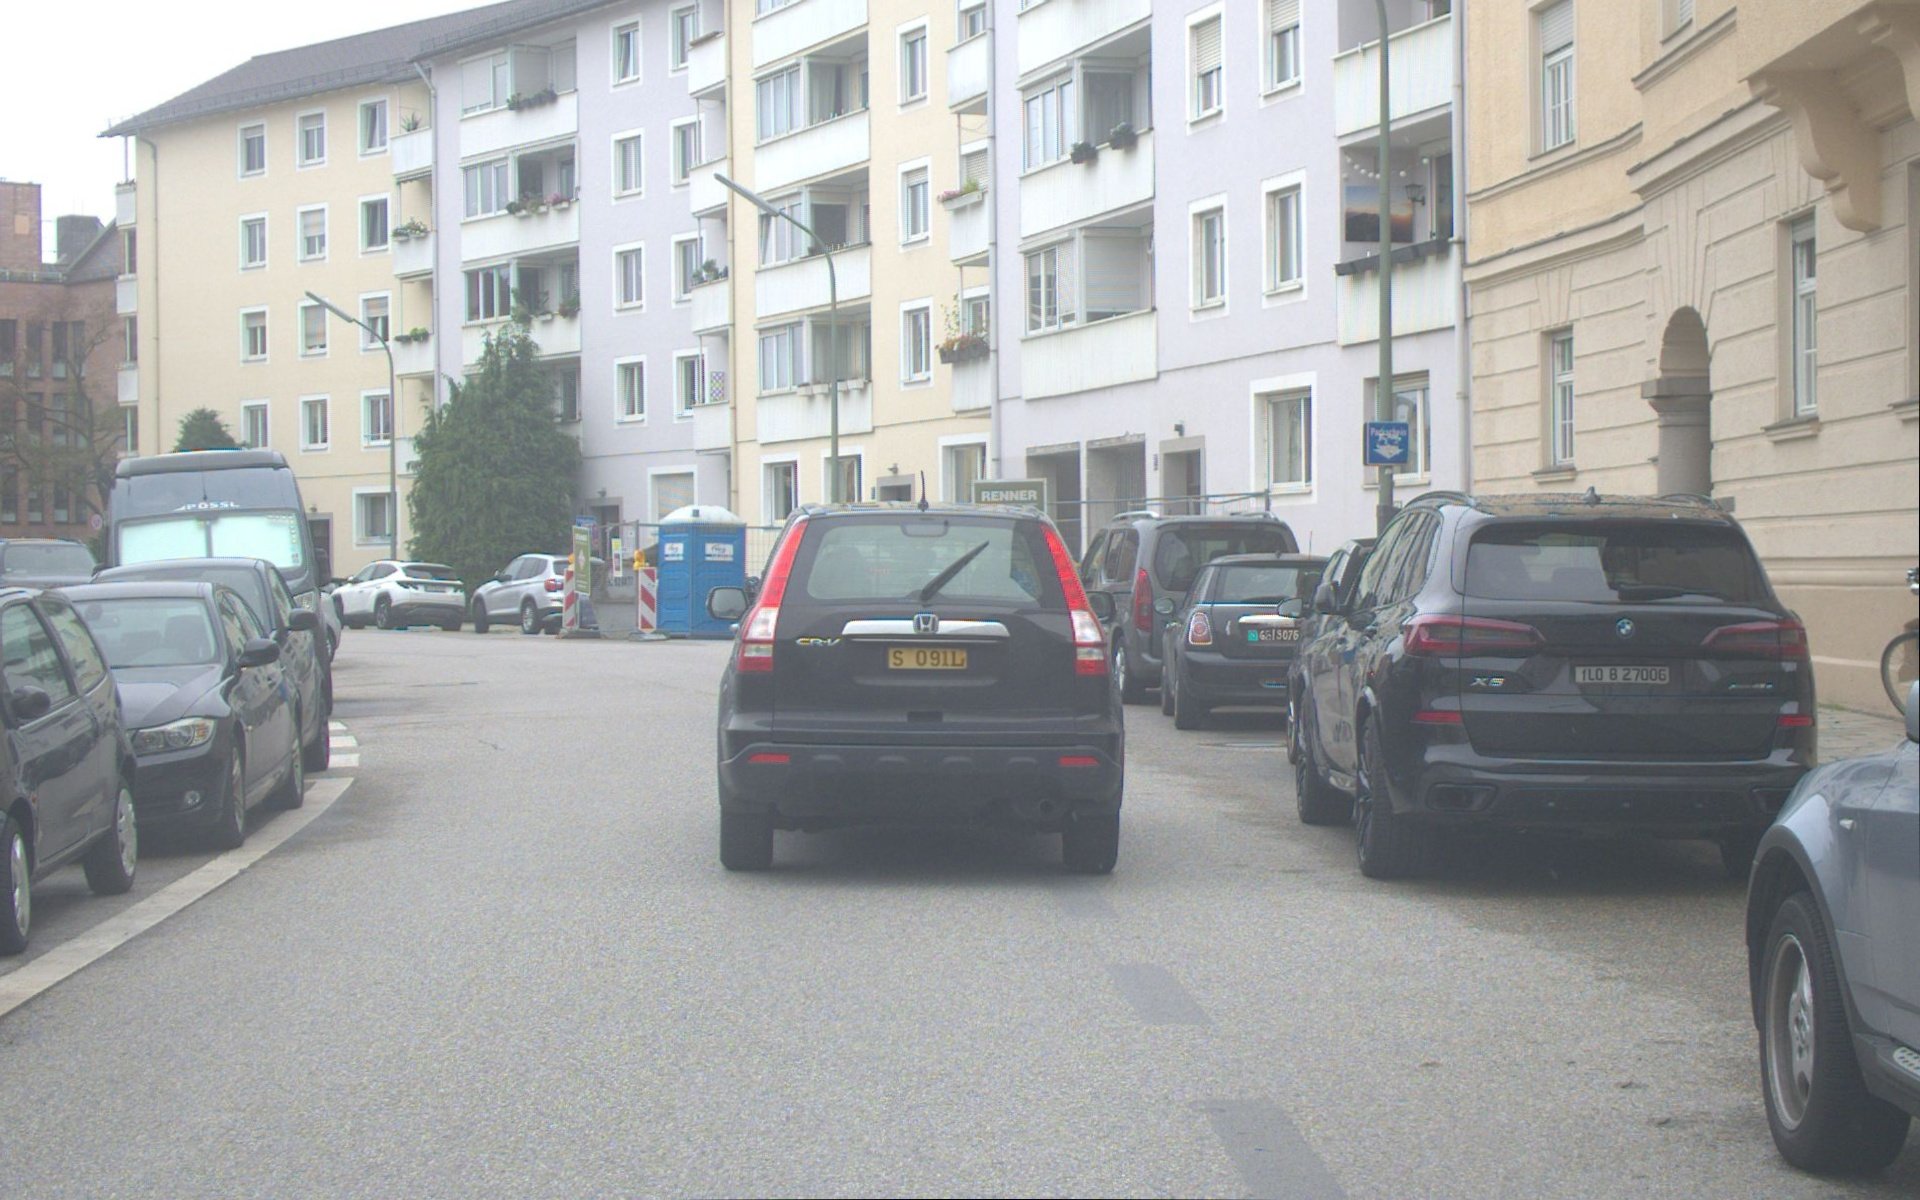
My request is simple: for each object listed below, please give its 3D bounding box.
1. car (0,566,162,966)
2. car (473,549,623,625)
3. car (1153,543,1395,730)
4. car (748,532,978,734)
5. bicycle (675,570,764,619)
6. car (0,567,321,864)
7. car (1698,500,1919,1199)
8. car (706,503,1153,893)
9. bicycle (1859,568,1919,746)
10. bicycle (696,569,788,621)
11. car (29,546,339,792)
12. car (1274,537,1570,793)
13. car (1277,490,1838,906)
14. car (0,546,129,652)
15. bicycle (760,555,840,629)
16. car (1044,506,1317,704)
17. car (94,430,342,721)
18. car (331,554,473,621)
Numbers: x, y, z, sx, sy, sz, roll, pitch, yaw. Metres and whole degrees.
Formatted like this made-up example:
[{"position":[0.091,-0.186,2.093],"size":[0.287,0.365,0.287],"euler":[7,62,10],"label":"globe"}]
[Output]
[{"position":[-4.450,0.622,14.198],"size":[1.656,1.448,3.313],"euler":[-2,1,-3],"label":"car"},{"position":[-8.481,-0.287,70.522],"size":[1.724,1.478,4.001],"euler":[0,1,-28],"label":"car"},{"position":[2.580,0.265,29.007],"size":[1.708,1.442,3.830],"euler":[1,1,1],"label":"car"},{"position":[-0.838,0.217,27.322],"size":[1.679,1.476,4.087],"euler":[0,1,-4],"label":"car"},{"position":[-5.392,-0.125,77.094],"size":[1.865,1.087,0.646],"euler":[0,1,-22],"label":"bicycle"},{"position":[-4.707,0.557,19.106],"size":[1.799,1.401,4.456],"euler":[-2,1,-5],"label":"car"},{"position":[2.836,0.610,6.818],"size":[1.722,1.628,4.458],"euler":[0,1,-1],"label":"car"},{"position":[-0.251,0.388,16.513],"size":[1.890,1.642,3.992],"euler":[0,1,-4],"label":"car"},{"position":[6.230,0.351,21.613],"size":[0.579,1.079,1.953],"euler":[-3,1,0],"label":"bicycle"},{"position":[-4.653,-0.114,73.427],"size":[1.865,1.087,0.566],"euler":[0,1,-22],"label":"bicycle"},{"position":[-5.191,0.415,23.312],"size":[1.670,1.497,2.978],"euler":[-2,1,-6],"label":"car"},{"position":[2.944,0.375,22.409],"size":[1.535,1.518,3.110],"euler":[1,1,1],"label":"car"},{"position":[2.738,0.384,16.897],"size":[1.869,1.711,4.865],"euler":[1,1,0],"label":"car"},{"position":[-15.241,-0.045,57.355],"size":[1.679,1.701,4.514],"euler":[0,1,-27],"label":"car"},{"position":[-3.074,-0.166,65.726],"size":[0.968,1.384,2.564],"euler":[0,1,-16],"label":"bicycle"},{"position":[2.099,0.017,33.954],"size":[1.777,1.800,4.277],"euler":[1,1,-9],"label":"car"},{"position":[-7.604,-0.288,34.808],"size":[2.163,2.632,6.019],"euler":[-2,1,-14],"label":"car"},{"position":[-12.917,-0.302,79.458],"size":[1.724,1.478,4.000],"euler":[0,1,-34],"label":"car"}]
